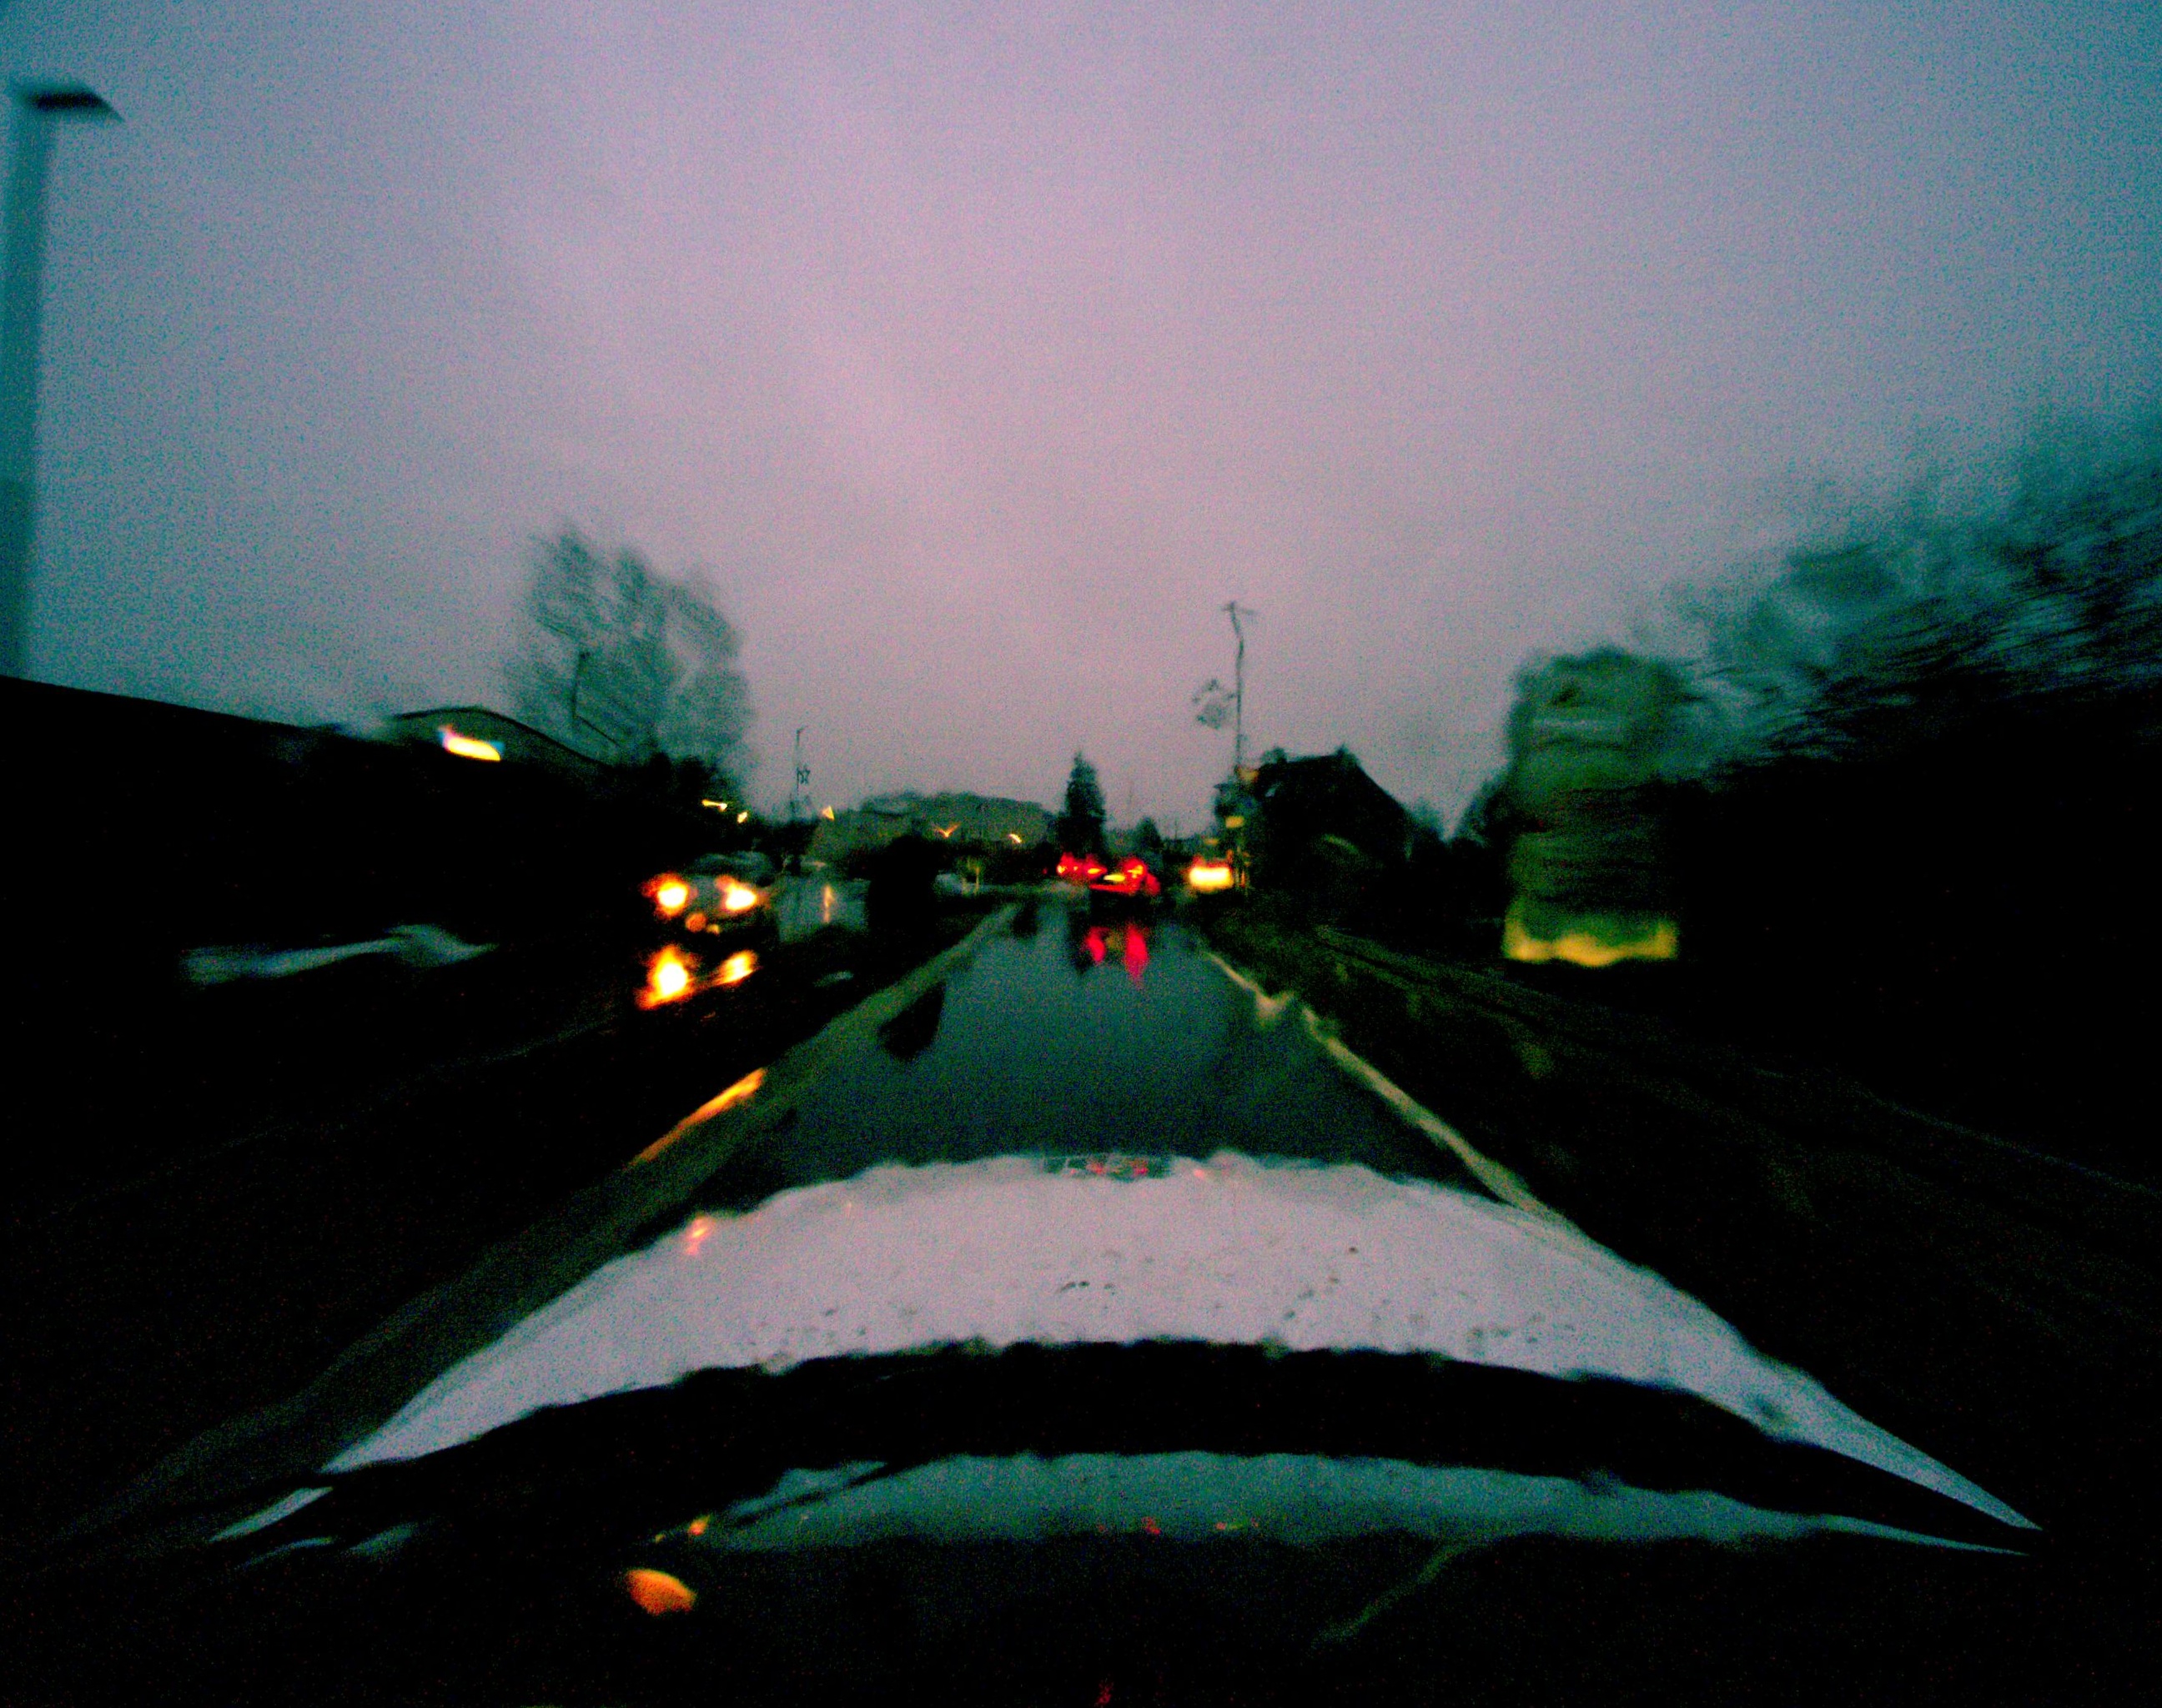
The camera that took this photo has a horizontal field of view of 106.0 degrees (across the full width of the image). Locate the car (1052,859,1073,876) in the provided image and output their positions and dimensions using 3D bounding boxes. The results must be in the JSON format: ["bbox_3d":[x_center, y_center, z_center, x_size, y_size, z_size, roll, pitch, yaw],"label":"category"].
[{"bbox_3d":[-1.770,1.304,76.969,1.770,1.544,3.992,0,-1,-5],"label":"car"}]

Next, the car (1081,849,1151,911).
[{"bbox_3d":[1.117,0.743,24.937,1.936,1.718,4.004,1,0,3],"label":"car"}]

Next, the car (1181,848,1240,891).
[{"bbox_3d":[5.744,0.628,35.637,2.148,1.689,4.589,0,1,14],"label":"car"}]

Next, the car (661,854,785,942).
[{"bbox_3d":[-6.752,0.747,15.708,1.609,1.469,3.667,0,0,-14],"label":"car"}]

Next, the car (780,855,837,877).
[{"bbox_3d":[-21.540,0.933,64.318,4.226,1.561,2.077,2,-2,35],"label":"car"}]
